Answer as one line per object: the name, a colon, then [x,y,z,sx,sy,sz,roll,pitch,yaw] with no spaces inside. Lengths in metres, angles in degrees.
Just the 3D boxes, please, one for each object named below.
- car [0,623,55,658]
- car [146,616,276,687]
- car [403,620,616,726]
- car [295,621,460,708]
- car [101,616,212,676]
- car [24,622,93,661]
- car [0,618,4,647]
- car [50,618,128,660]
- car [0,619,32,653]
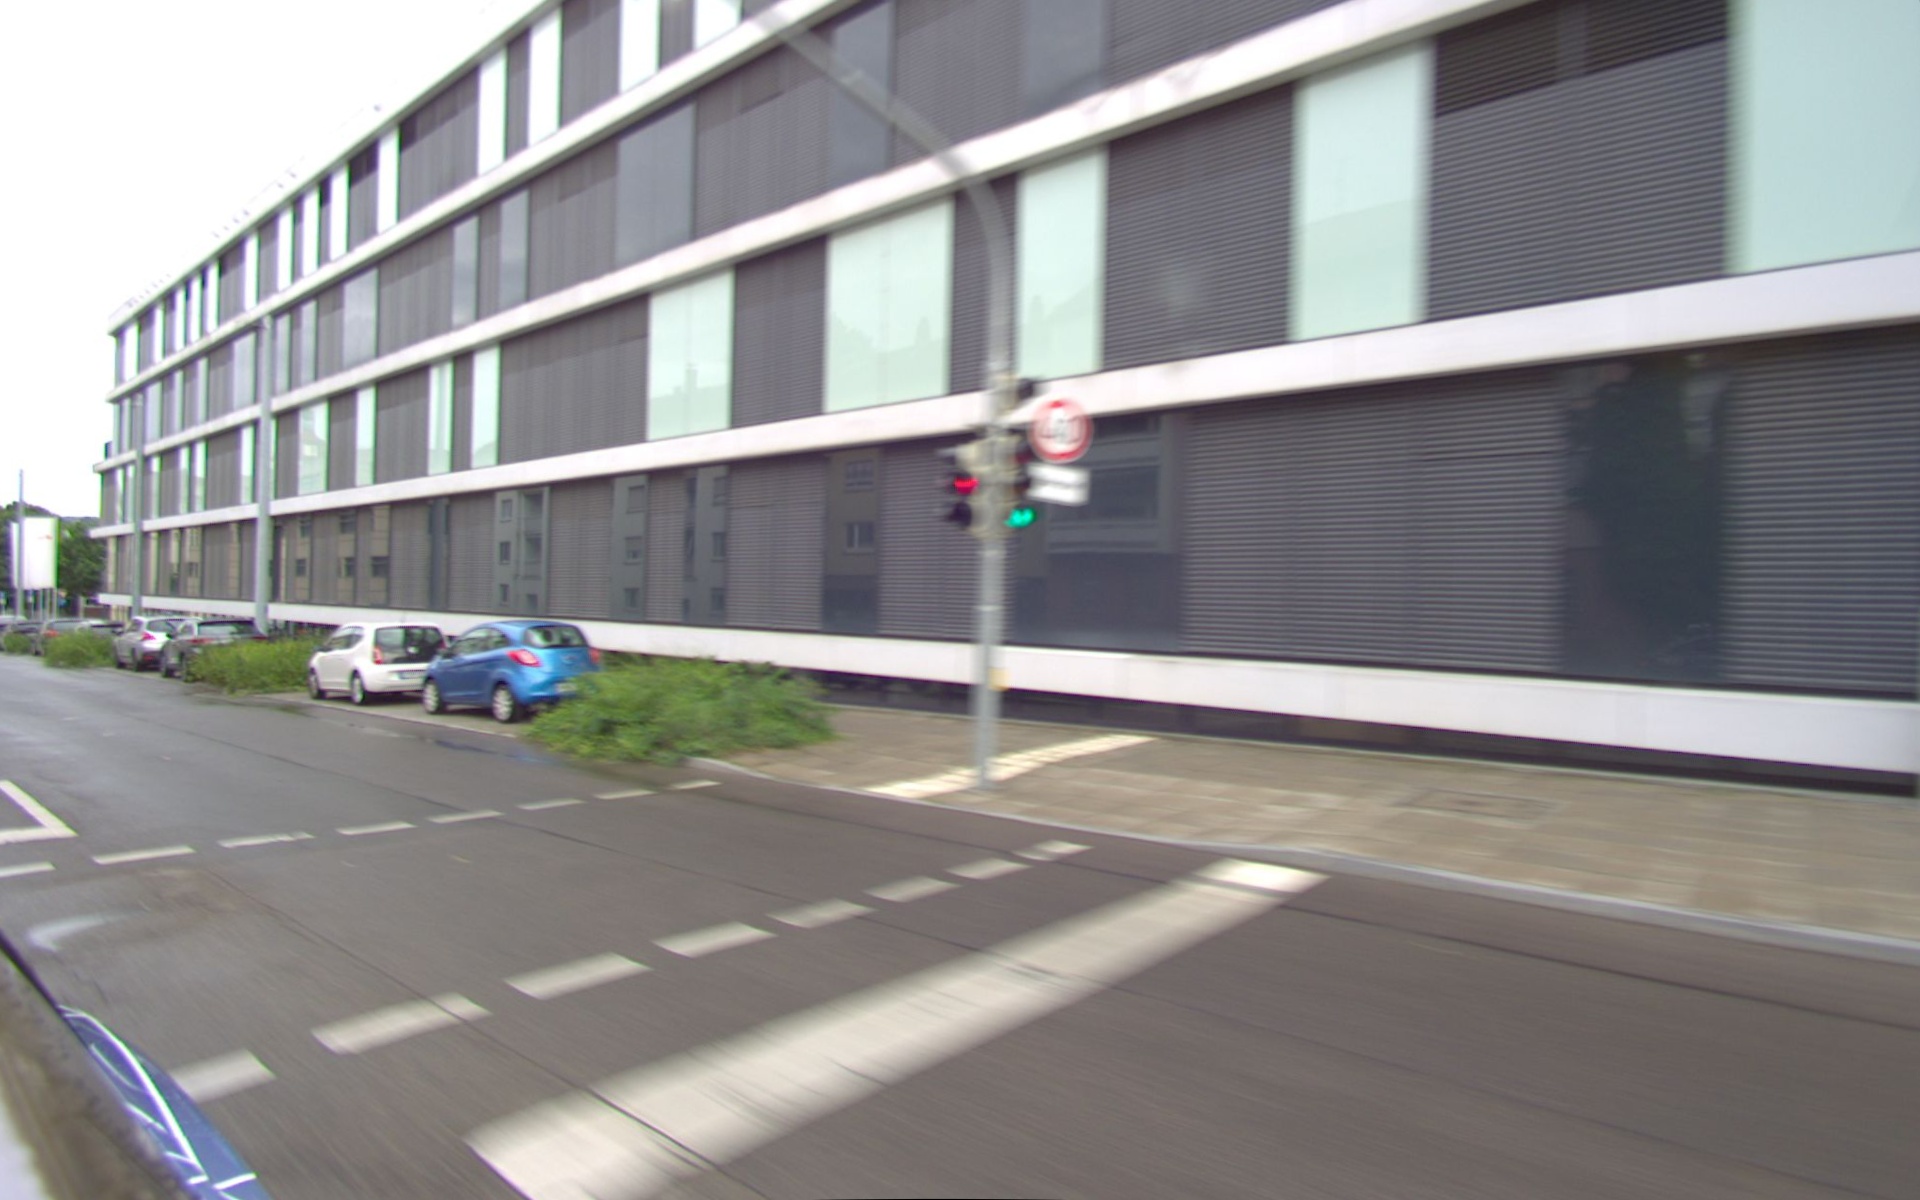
car: [-42.800,1.821,46.284,4.039,1.483,1.621,-1,-1,41]
car: [-19.182,1.241,25.850,4.362,1.601,1.862,-1,0,43]
car: [-7.178,1.067,16.007,3.580,1.478,1.621,-1,-2,39]
car: [-10.987,1.140,19.019,3.582,1.478,1.620,-1,-2,42]
car: [-23.900,1.304,30.052,4.360,1.601,1.811,-1,0,41]
car: [-35.933,1.618,40.318,4.039,1.483,1.545,-1,-1,41]
car: [-54.984,1.813,56.734,4.039,1.597,1.621,-1,-1,41]
car: [-31.441,1.366,36.491,4.039,1.404,1.545,-1,-1,41]
car: [-47.404,1.756,50.176,4.039,1.597,1.621,-1,-1,41]
